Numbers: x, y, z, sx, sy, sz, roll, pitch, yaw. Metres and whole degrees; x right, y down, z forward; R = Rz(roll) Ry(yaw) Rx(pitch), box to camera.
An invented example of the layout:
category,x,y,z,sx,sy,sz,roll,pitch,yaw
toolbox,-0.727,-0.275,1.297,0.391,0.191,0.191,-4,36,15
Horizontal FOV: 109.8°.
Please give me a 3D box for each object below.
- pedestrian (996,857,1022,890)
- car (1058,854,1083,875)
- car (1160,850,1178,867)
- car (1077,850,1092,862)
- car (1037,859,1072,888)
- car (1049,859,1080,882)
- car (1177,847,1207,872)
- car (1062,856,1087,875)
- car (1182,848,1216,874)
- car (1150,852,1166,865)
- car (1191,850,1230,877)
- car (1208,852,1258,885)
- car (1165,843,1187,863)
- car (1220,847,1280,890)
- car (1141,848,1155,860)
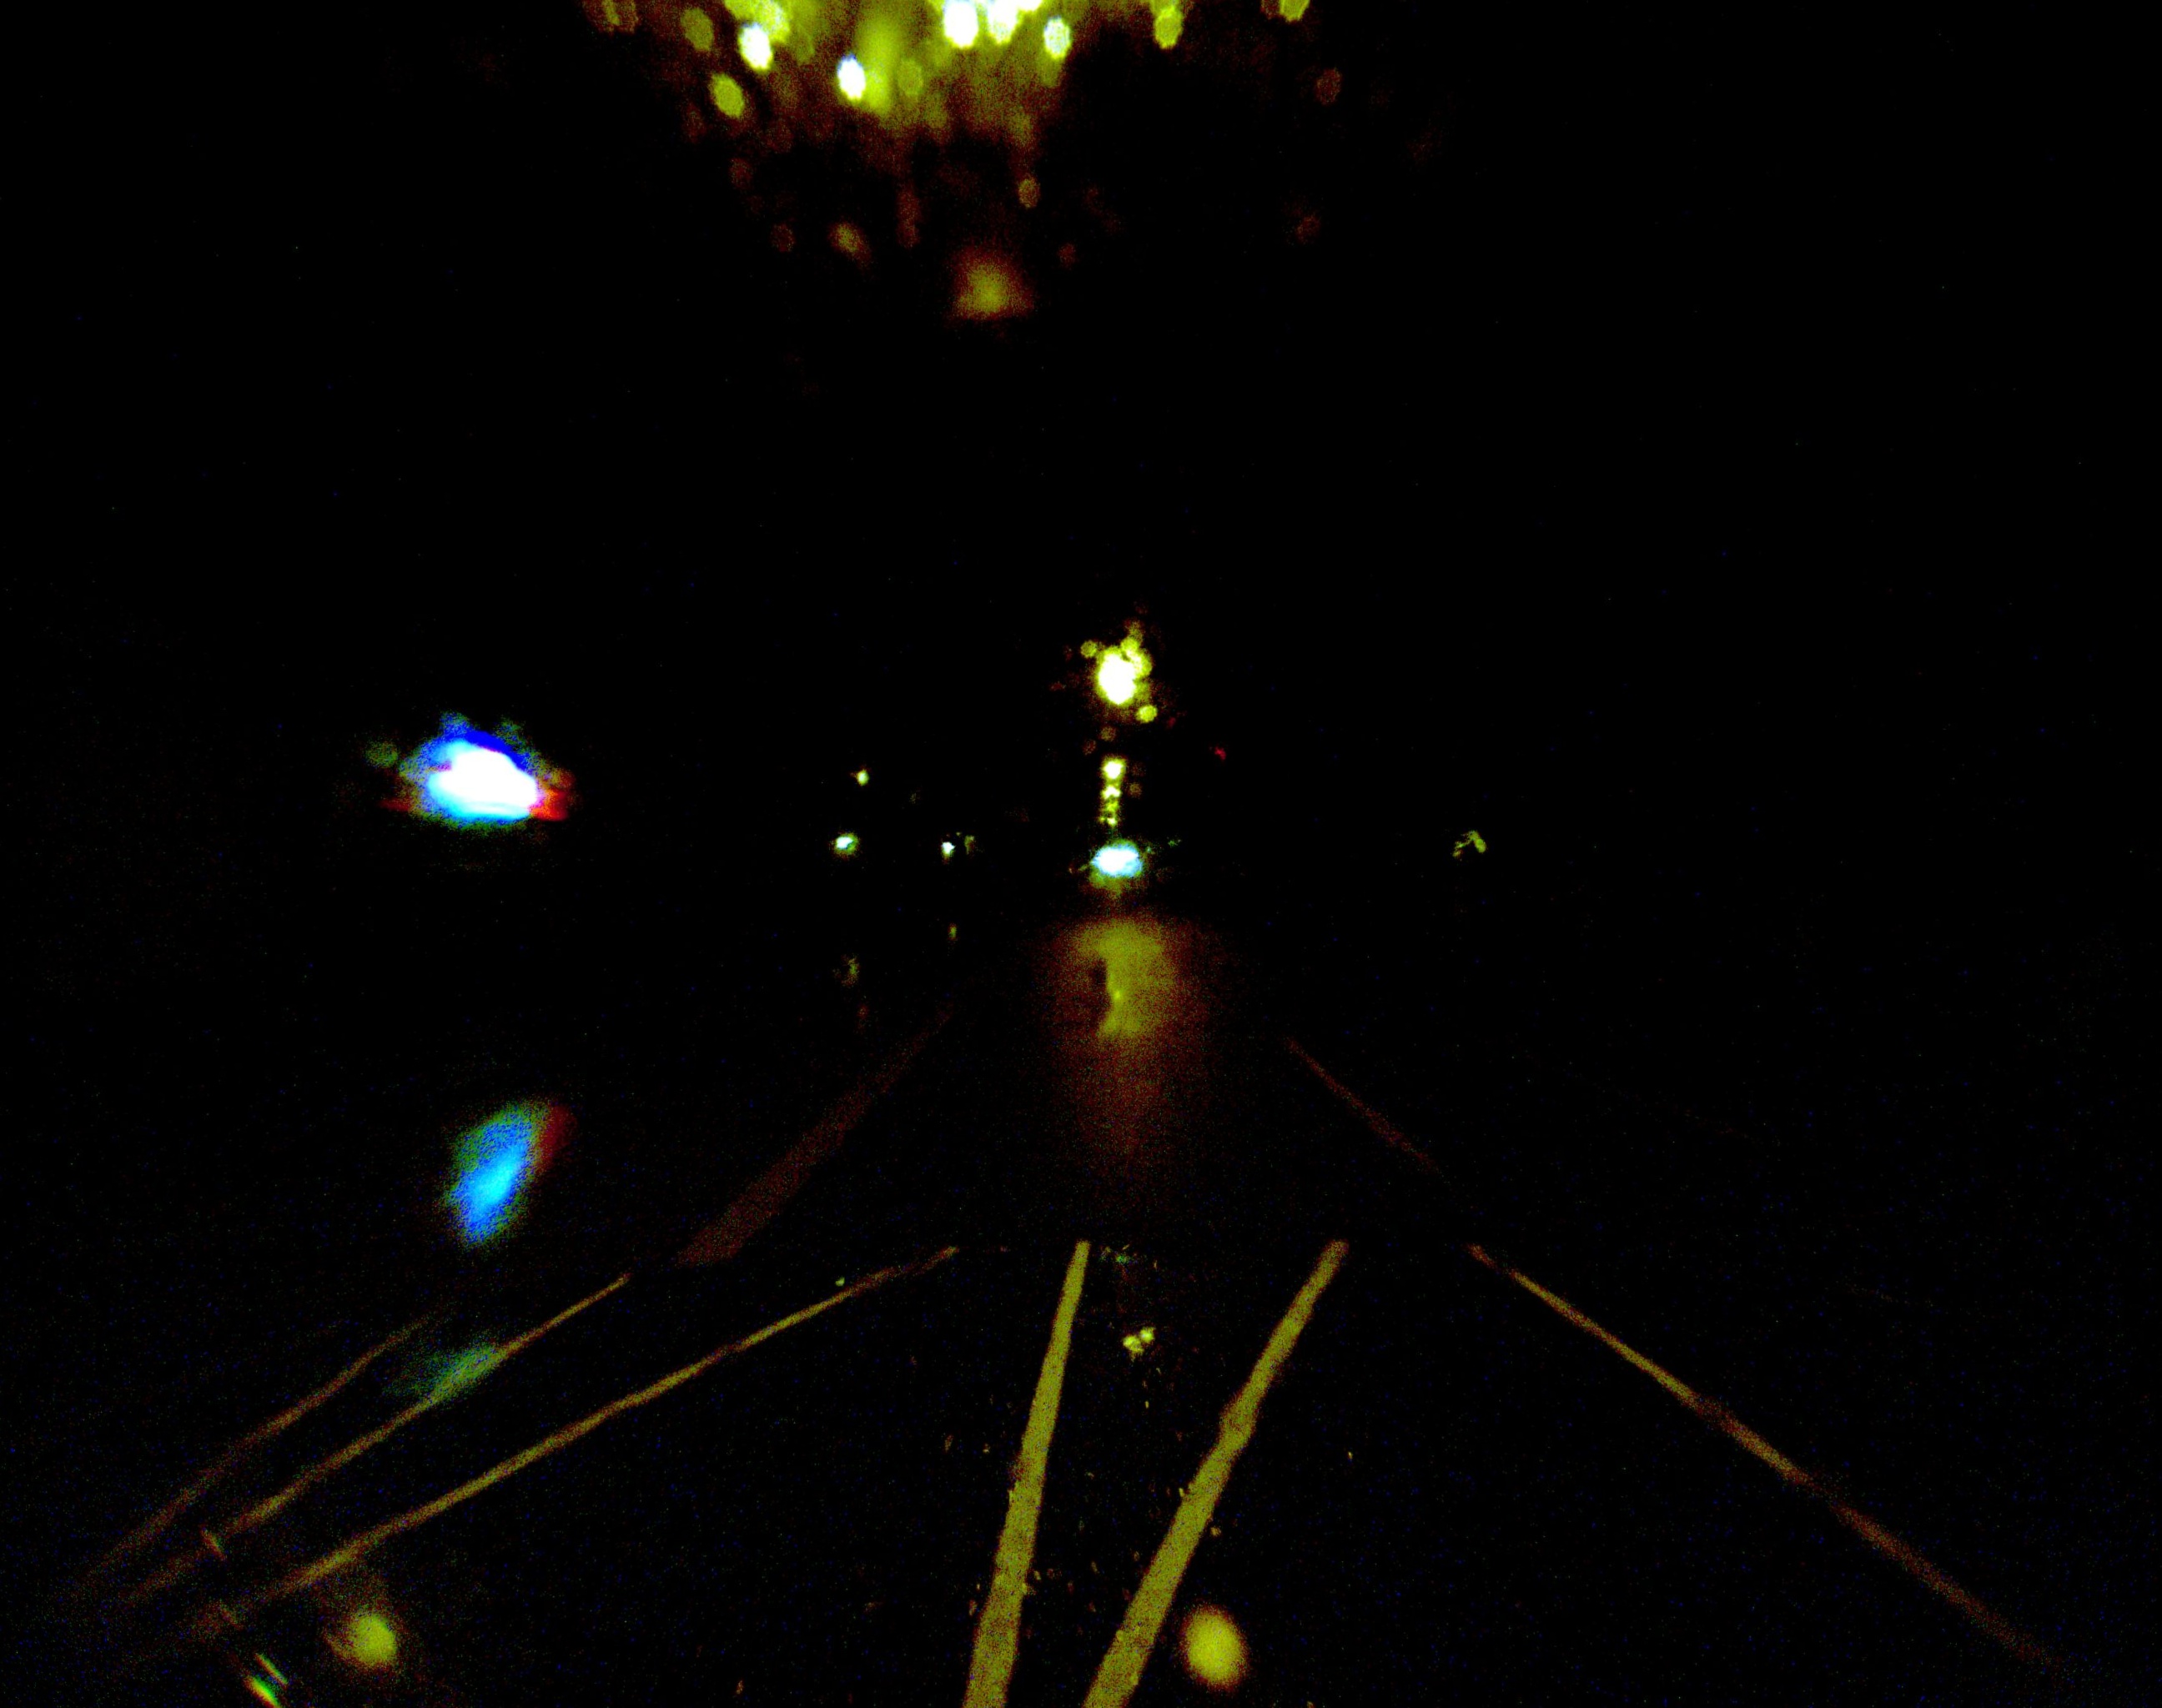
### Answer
category,x,y,z,sx,sy,sz,roll,pitch,yaw
pedestrian,-3.473,0.947,36.863,1.052,1.566,1.019,-1,1,7
car,-0.787,0.823,61.262,1.804,1.522,5.051,1,1,1
car,8.317,0.433,71.914,1.434,1.452,3.374,3,1,4
car,0.371,0.254,94.419,1.800,1.482,4.129,1,-1,-1
car,-1.526,1.112,45.620,1.827,1.522,4.783,1,1,1
car,-1.088,1.064,51.560,1.827,1.413,4.488,1,1,1
car,7.622,0.363,52.496,1.602,1.596,4.258,3,1,3
car,-0.542,0.949,66.981,1.828,1.539,4.353,1,1,4
car,7.317,0.411,47.524,1.602,1.478,4.275,3,1,3
car,9.187,0.517,91.218,1.669,1.531,4.391,0,1,3
car,7.051,0.506,41.593,1.602,1.365,4.068,0,0,3
car,7.170,0.643,36.192,1.602,1.365,4.354,3,1,3
car,8.323,-0.111,67.045,1.477,1.610,3.373,-3,1,1
car,6.848,0.540,31.161,1.602,1.555,4.380,3,1,3
car,8.973,-0.003,102.056,1.669,1.531,4.391,1,1,3
